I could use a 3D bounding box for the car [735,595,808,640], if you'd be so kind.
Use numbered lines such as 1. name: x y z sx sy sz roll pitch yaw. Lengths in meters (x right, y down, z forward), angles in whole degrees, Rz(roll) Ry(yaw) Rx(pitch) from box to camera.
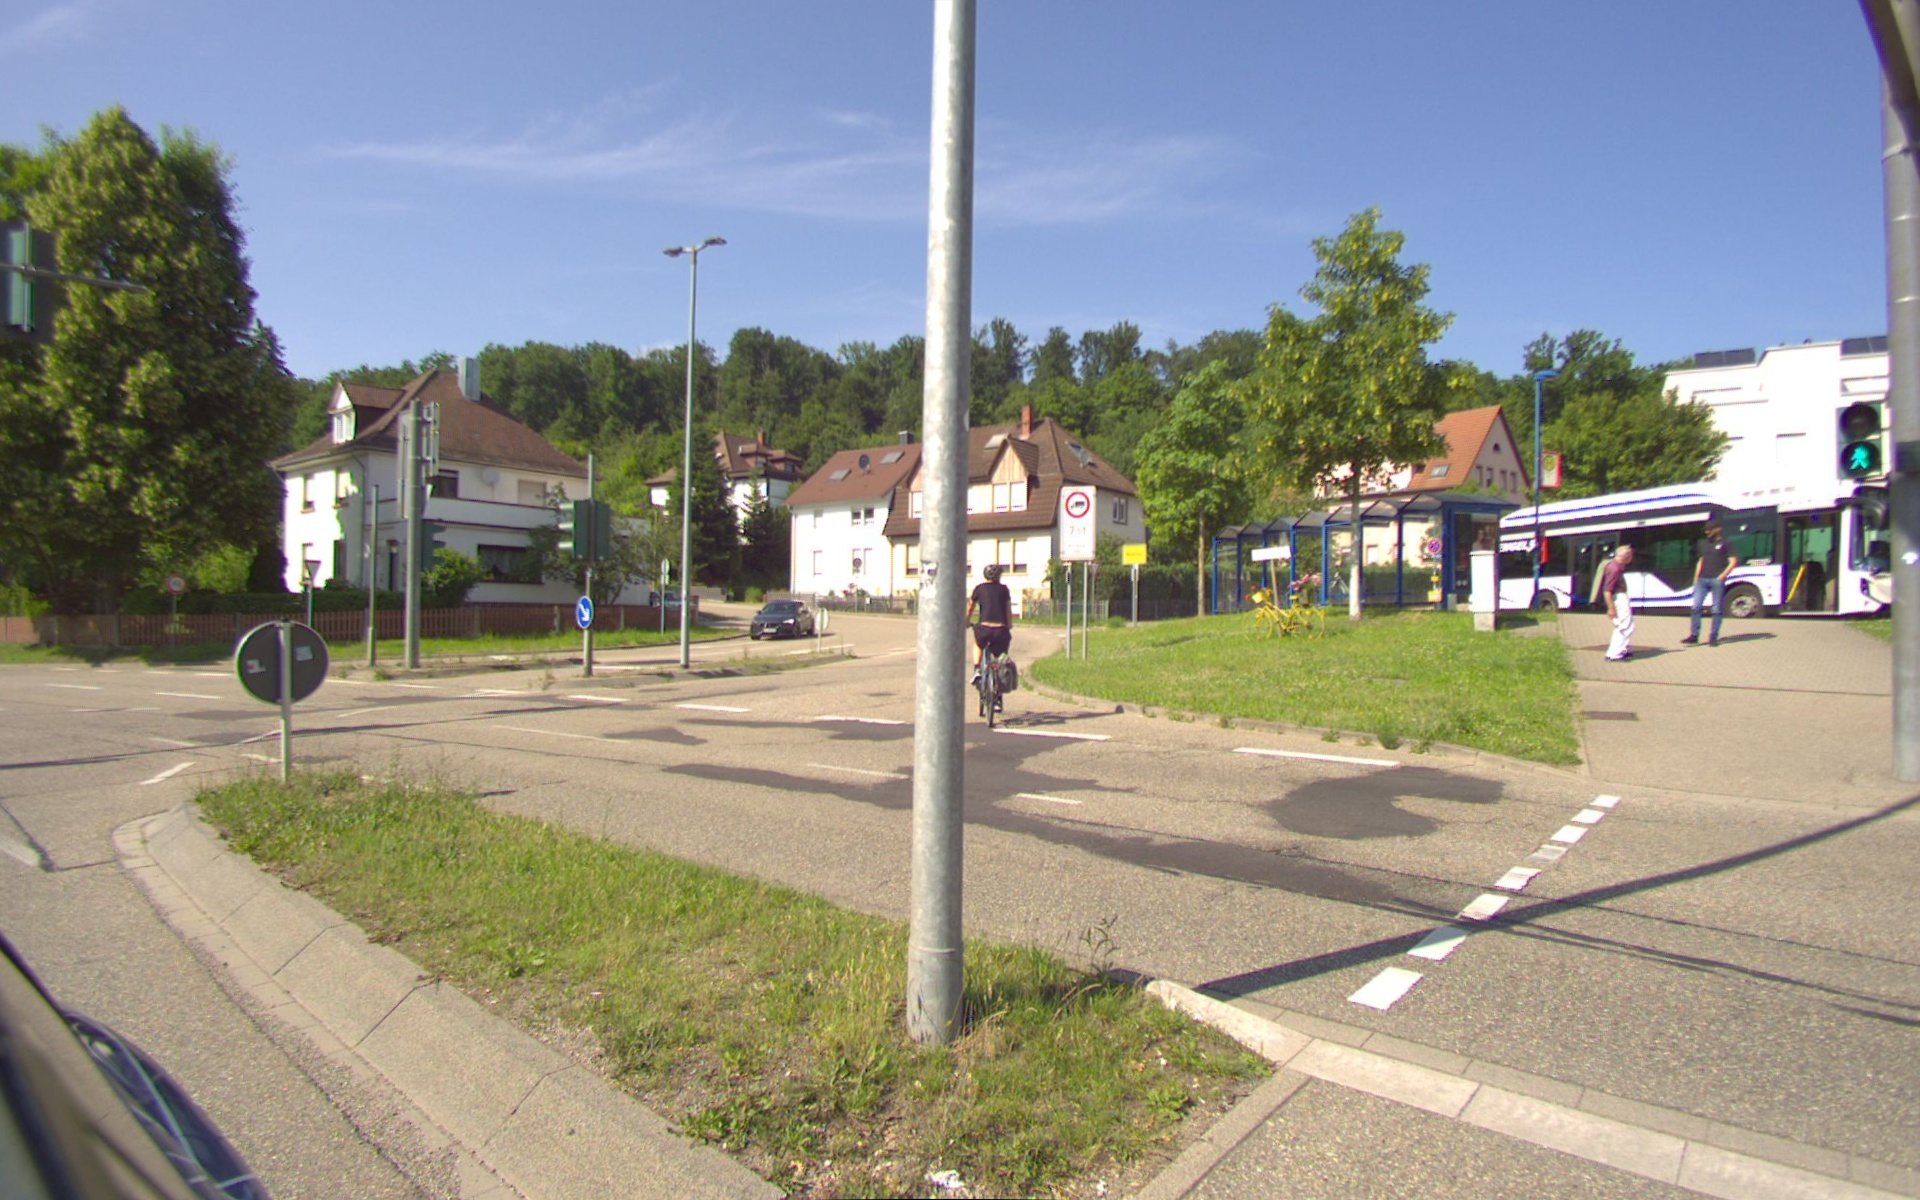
1. car: -7.132 0.619 38.586 1.972 1.519 4.000 -3 0 0

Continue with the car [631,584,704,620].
1. car: -14.946 0.130 51.591 1.911 1.649 4.004 -3 0 -43

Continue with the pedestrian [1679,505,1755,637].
1. pedestrian: 11.445 -0.439 15.296 0.856 1.922 0.731 -1 3 40

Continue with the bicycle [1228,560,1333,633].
1. bicycle: 6.177 -0.049 19.561 0.611 1.264 1.758 -7 1 -43

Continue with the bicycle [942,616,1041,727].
1. bicycle: 0.344 0.816 12.352 0.723 1.171 2.004 -3 0 -11

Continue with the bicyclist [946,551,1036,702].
1. bicyclist: 0.355 0.306 12.190 0.794 1.703 0.995 -3 0 -11

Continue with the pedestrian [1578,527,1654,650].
1. pedestrian: 9.344 -0.156 14.413 0.741 1.690 0.703 -3 0 41

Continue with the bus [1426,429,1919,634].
1. bus: 16.866 -1.281 24.844 2.822 3.741 12.249 -3 0 -12
